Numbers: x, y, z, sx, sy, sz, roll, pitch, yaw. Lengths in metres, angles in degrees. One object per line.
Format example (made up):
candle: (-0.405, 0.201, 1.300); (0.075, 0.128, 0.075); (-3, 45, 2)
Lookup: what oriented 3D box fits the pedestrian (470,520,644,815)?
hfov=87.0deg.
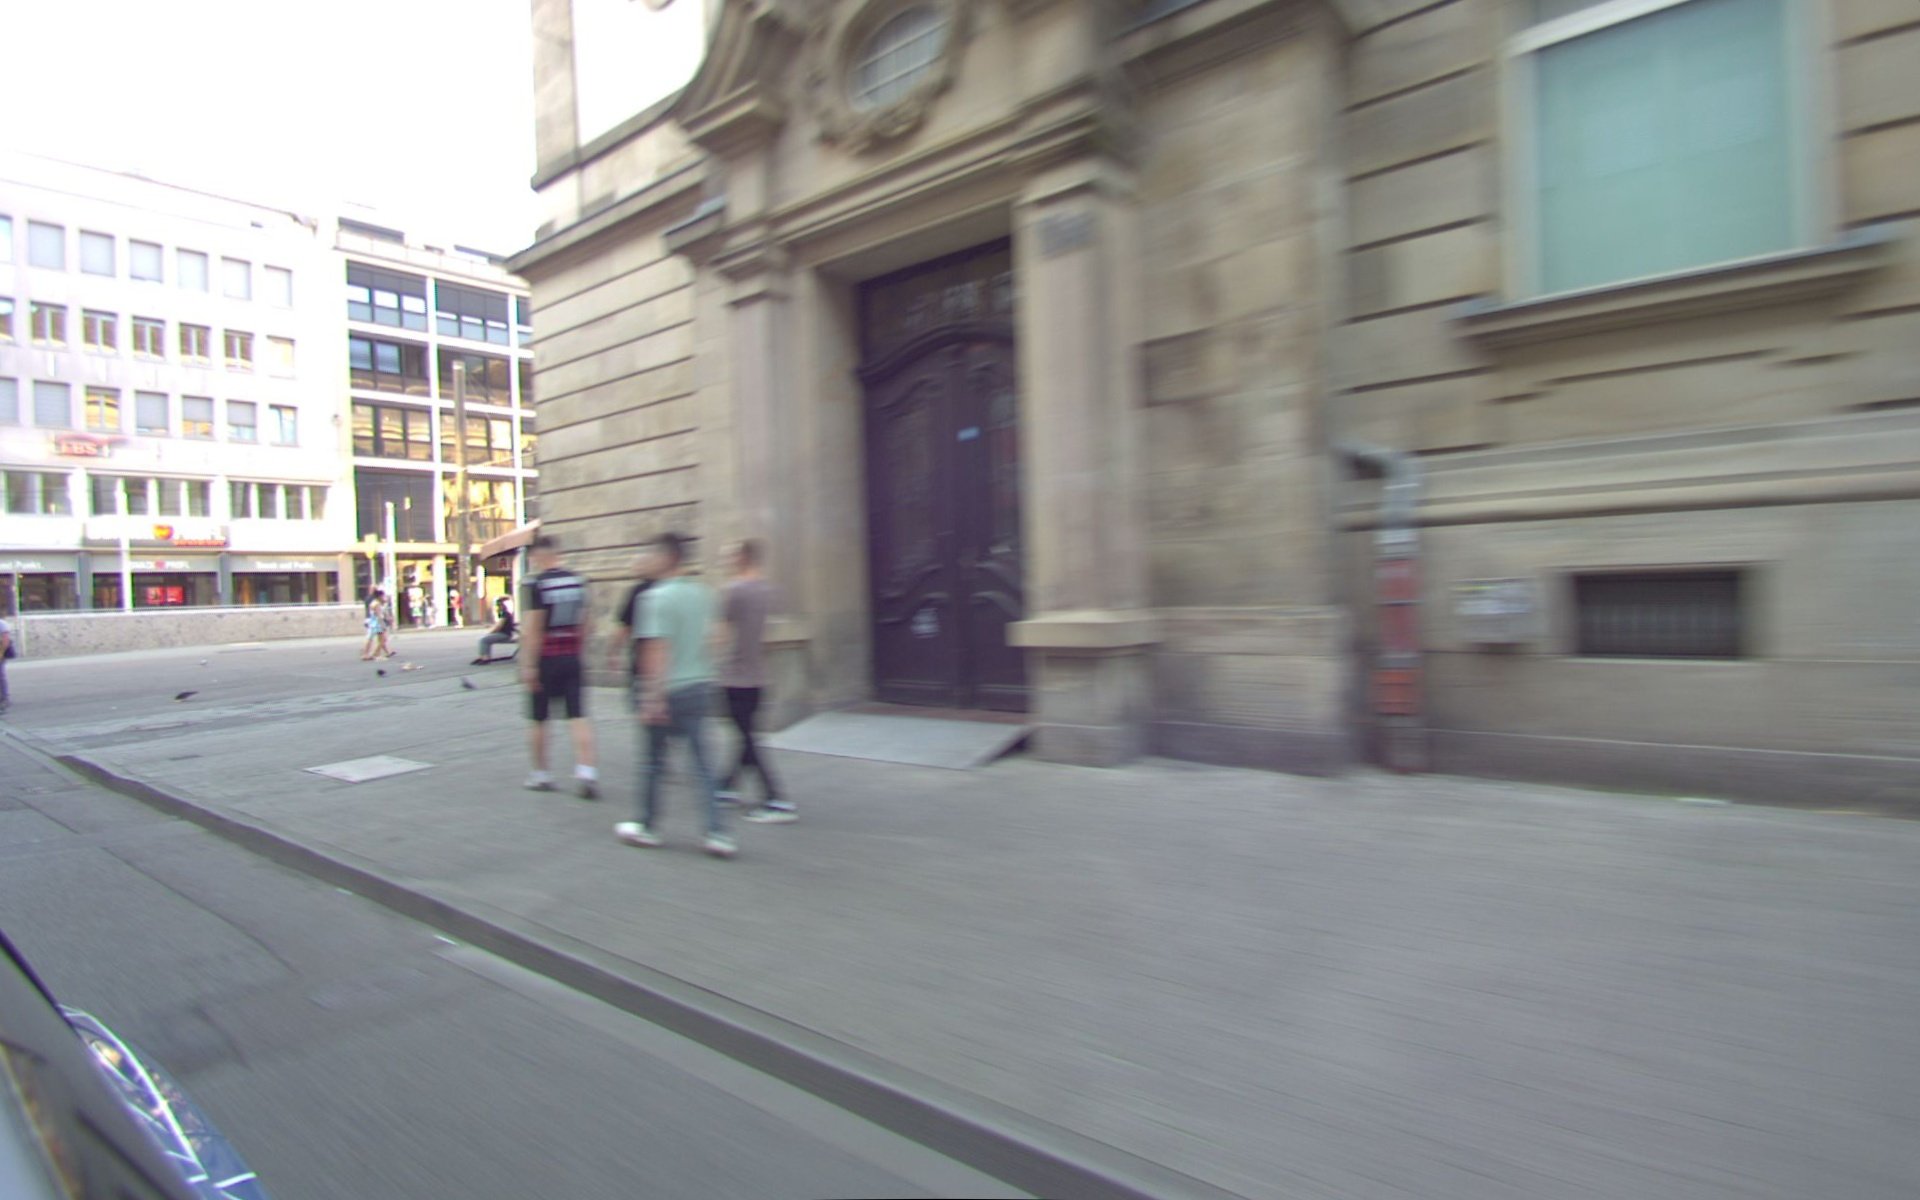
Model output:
pedestrian: (-2.767, 0.415, 6.932); (0.708, 1.843, 0.871); (-6, 3, -43)

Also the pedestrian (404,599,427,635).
pedestrian: (-26.091, 0.794, 48.519); (0.617, 1.665, 0.668); (-2, 1, 8)

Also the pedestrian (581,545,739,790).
pedestrian: (-2.212, 0.460, 7.472); (0.747, 1.654, 0.749); (-6, 3, -43)

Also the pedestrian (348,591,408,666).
pedestrian: (-13.032, 0.636, 22.662); (0.737, 1.602, 0.855); (-1, 2, 35)

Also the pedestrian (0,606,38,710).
pedestrian: (-15.812, 0.944, 16.570); (0.734, 1.672, 0.752); (-2, 0, 4)

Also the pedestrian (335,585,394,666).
pedestrian: (-13.626, 0.575, 23.149); (0.743, 1.774, 0.852); (-1, 2, 35)

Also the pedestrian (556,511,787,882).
pedestrian: (-1.519, 0.449, 5.338); (0.839, 1.755, 0.718); (-1, 3, 43)

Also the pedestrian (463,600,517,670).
pedestrian: (-9.231, 0.667, 19.858); (0.766, 1.283, 0.789); (-5, 2, -34)

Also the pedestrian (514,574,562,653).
pedestrian: (-9.711, 0.318, 23.288); (0.797, 1.775, 0.679); (-2, -1, 34)

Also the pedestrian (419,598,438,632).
pedestrian: (-25.427, 0.725, 48.414); (0.488, 1.598, 0.570); (-2, 1, 8)

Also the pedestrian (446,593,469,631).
pedestrian: (-23.381, 0.573, 47.107); (0.681, 1.721, 0.699); (-1, 1, 45)

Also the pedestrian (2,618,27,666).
pedestrian: (-34.789, 1.527, 37.237); (0.558, 1.721, 0.539); (-2, 1, 40)

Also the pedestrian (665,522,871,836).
pedestrian: (-1.136, 0.420, 5.998); (0.858, 1.680, 0.721); (-1, 3, 43)
